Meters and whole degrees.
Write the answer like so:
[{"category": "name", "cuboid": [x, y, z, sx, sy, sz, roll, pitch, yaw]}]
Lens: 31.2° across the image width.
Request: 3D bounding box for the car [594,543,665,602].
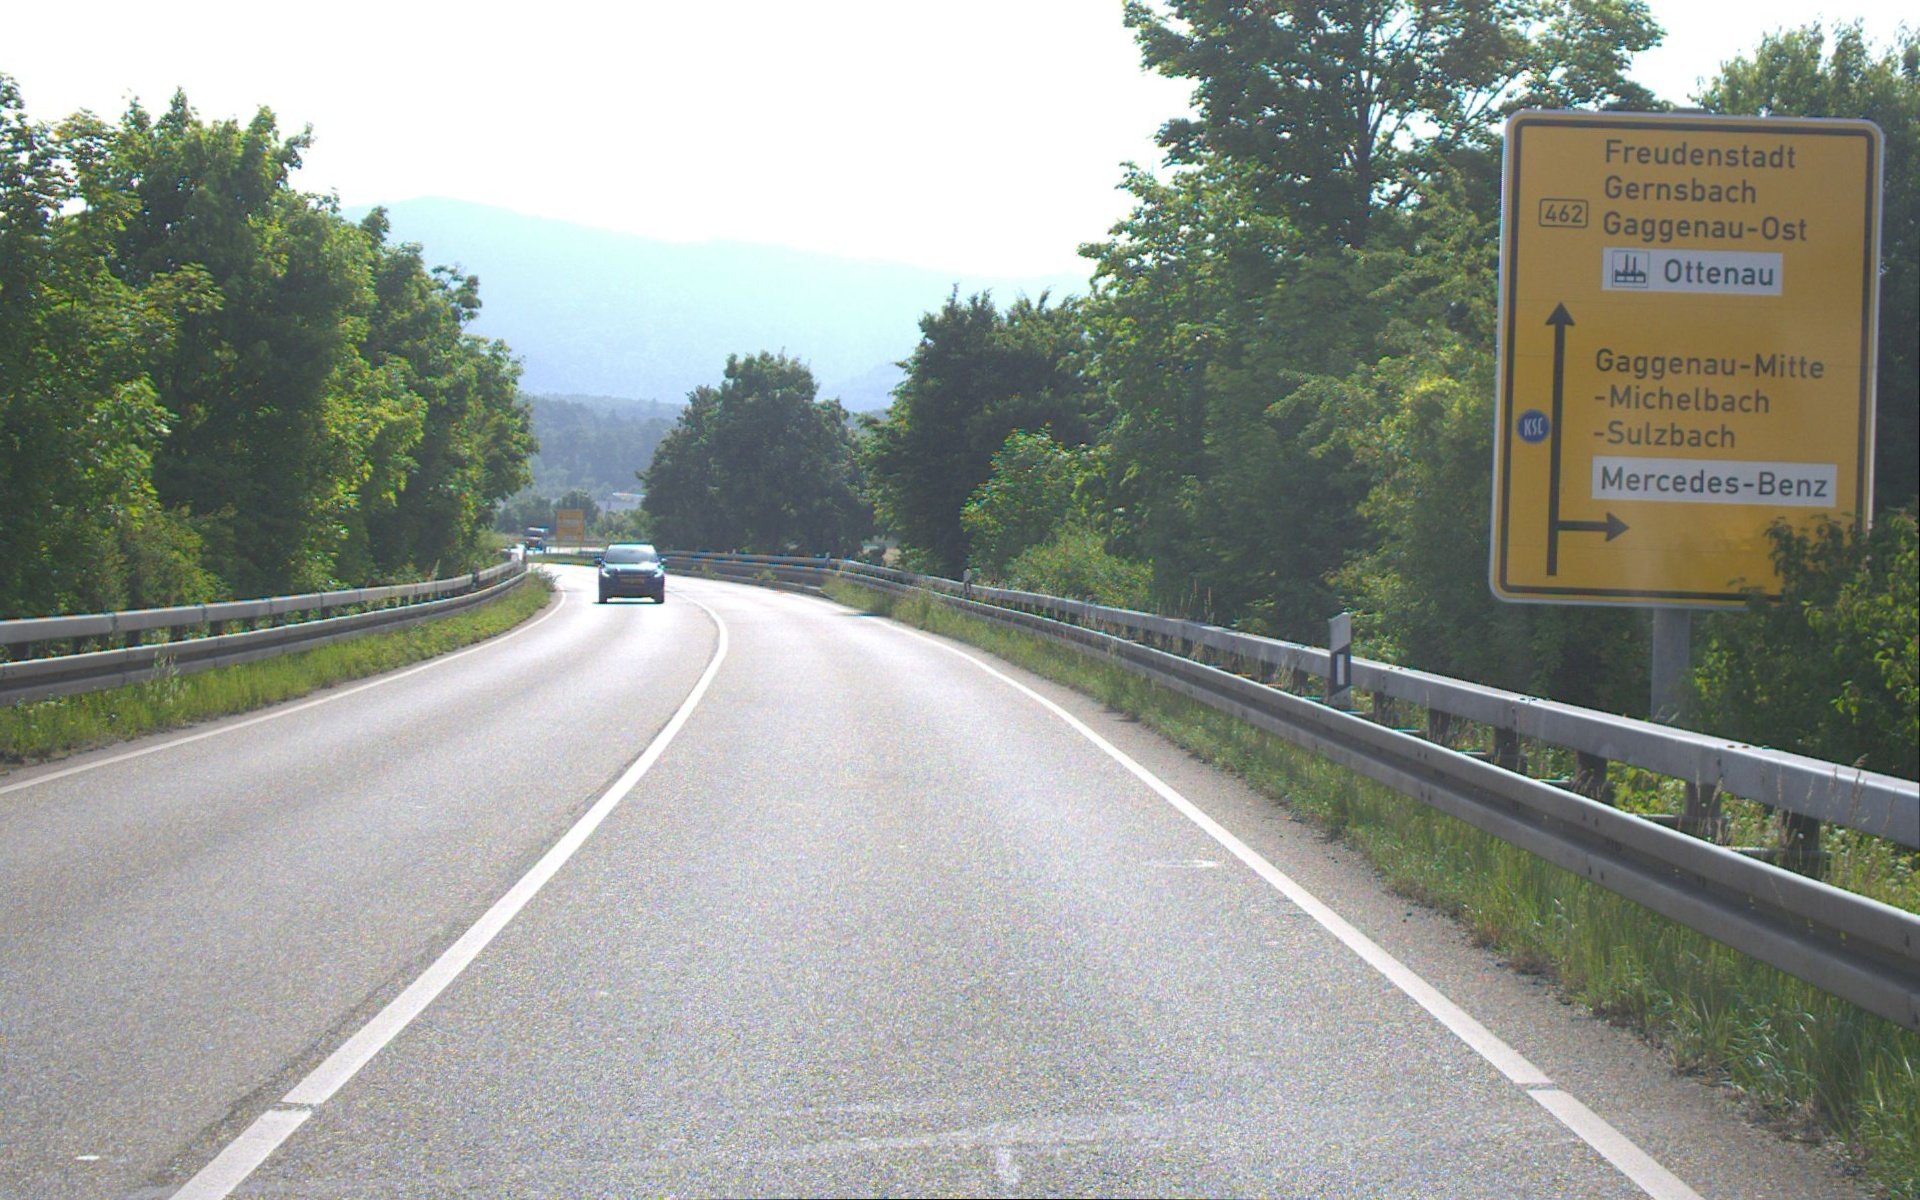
[{"category": "car", "cuboid": [-8.992, -0.756, 93.783, 1.807, 1.555, 3.993, -1, 1, -4]}]
